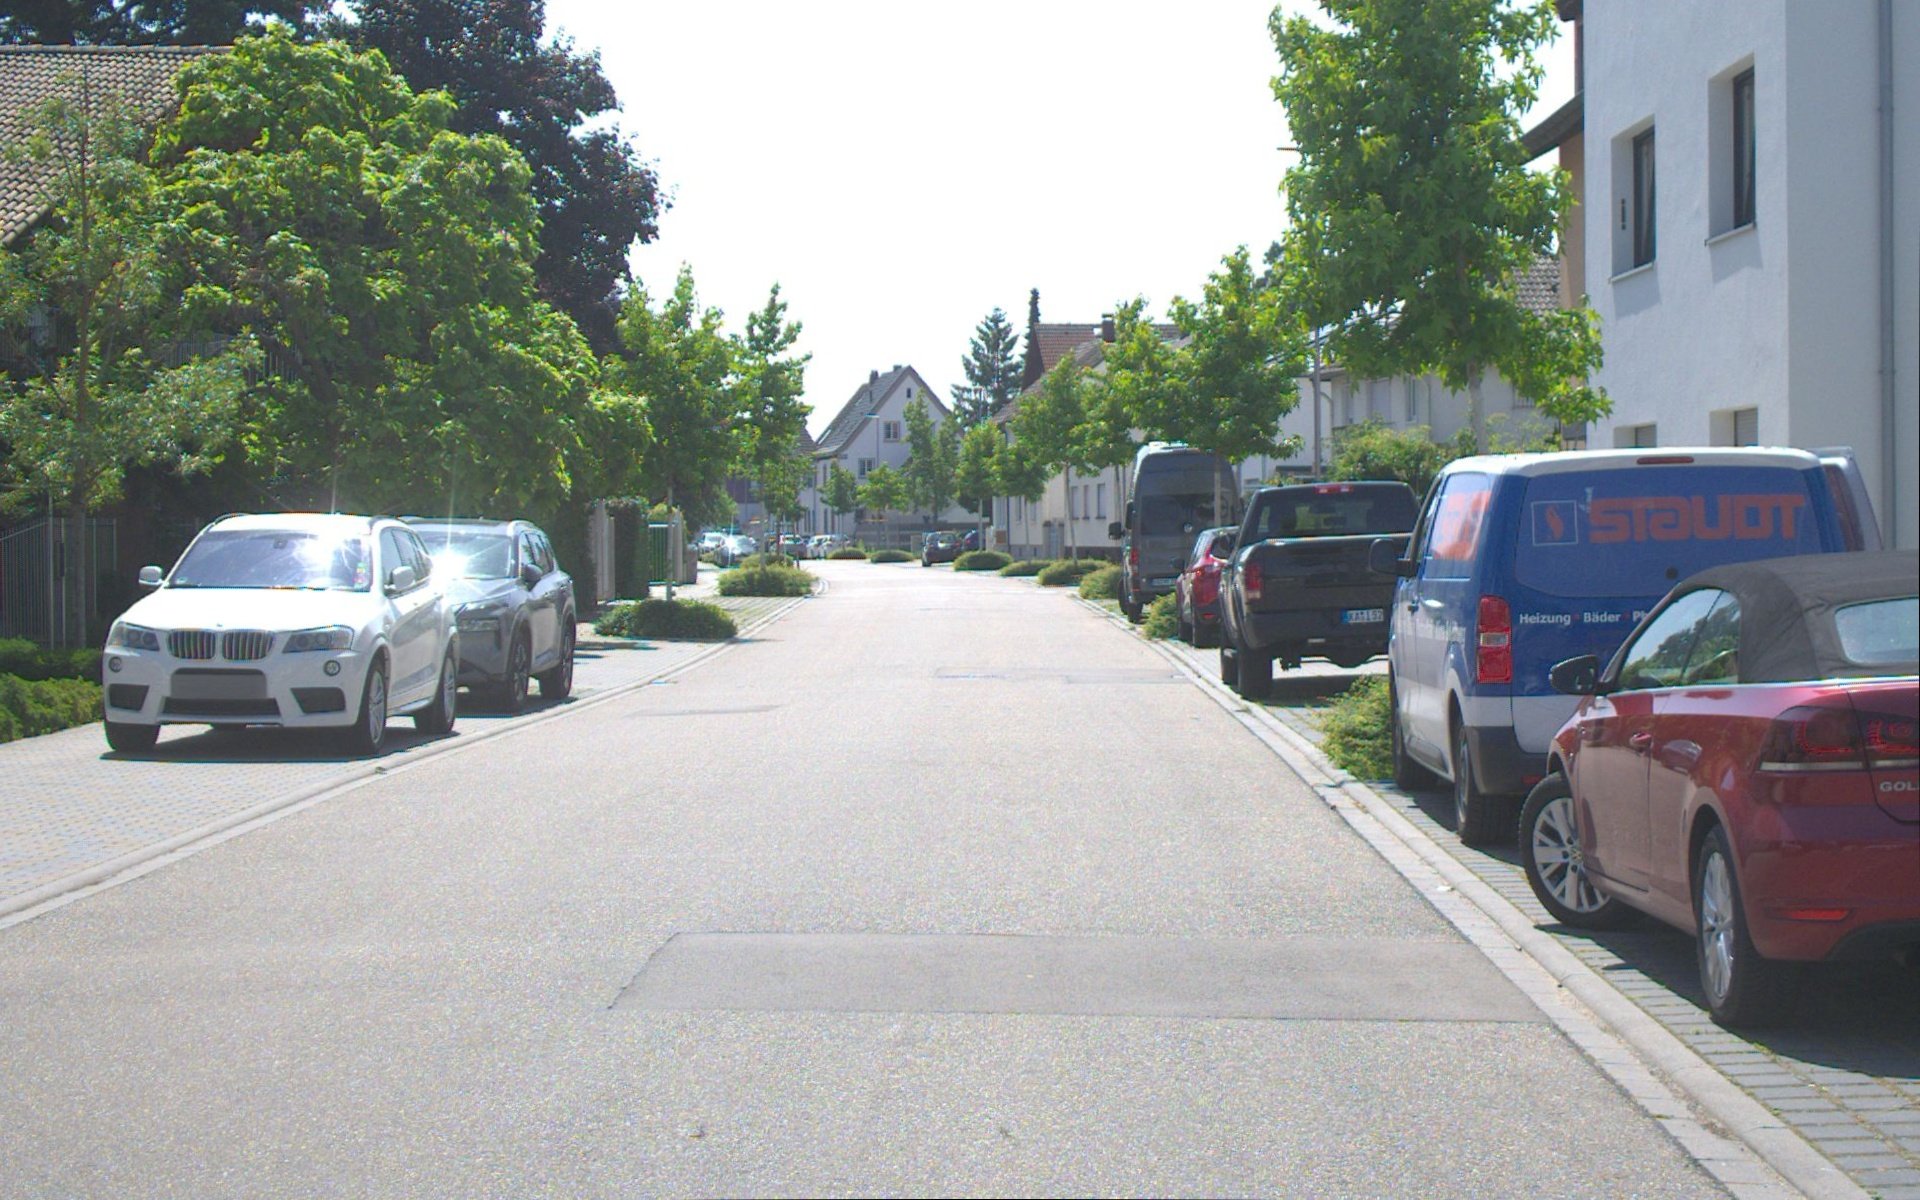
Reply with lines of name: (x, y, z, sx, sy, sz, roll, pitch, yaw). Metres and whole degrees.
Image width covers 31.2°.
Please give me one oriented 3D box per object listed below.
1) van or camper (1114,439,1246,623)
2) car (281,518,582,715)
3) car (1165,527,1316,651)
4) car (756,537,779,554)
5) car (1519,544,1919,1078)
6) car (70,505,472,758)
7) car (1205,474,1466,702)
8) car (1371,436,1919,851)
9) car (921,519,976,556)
van or camper: (3.627, -1.152, 57.211, 1.993, 2.931, 4.000, 0, 1, 1)
car: (-4.752, 0.101, 31.493, 1.993, 1.674, 4.214, 0, 1, 2)
car: (3.756, -0.171, 46.484, 1.670, 1.590, 3.556, -1, 1, -1)
car: (-12.412, -3.541, 221.770, 1.188, 1.067, 3.054, -1, 1, -8)
car: (3.067, 0.548, 11.488, 1.679, 1.437, 4.027, 0, 1, -1)
car: (-4.919, 0.165, 25.198, 1.927, 1.681, 4.498, 0, 1, 2)
car: (3.454, -0.156, 32.553, 1.993, 1.940, 5.214, -1, 1, 2)
car: (3.406, 0.155, 18.043, 2.099, 1.875, 4.842, 0, 1, 2)
car: (-0.515, -2.770, 151.566, 1.993, 1.568, 4.001, -1, 1, -7)
